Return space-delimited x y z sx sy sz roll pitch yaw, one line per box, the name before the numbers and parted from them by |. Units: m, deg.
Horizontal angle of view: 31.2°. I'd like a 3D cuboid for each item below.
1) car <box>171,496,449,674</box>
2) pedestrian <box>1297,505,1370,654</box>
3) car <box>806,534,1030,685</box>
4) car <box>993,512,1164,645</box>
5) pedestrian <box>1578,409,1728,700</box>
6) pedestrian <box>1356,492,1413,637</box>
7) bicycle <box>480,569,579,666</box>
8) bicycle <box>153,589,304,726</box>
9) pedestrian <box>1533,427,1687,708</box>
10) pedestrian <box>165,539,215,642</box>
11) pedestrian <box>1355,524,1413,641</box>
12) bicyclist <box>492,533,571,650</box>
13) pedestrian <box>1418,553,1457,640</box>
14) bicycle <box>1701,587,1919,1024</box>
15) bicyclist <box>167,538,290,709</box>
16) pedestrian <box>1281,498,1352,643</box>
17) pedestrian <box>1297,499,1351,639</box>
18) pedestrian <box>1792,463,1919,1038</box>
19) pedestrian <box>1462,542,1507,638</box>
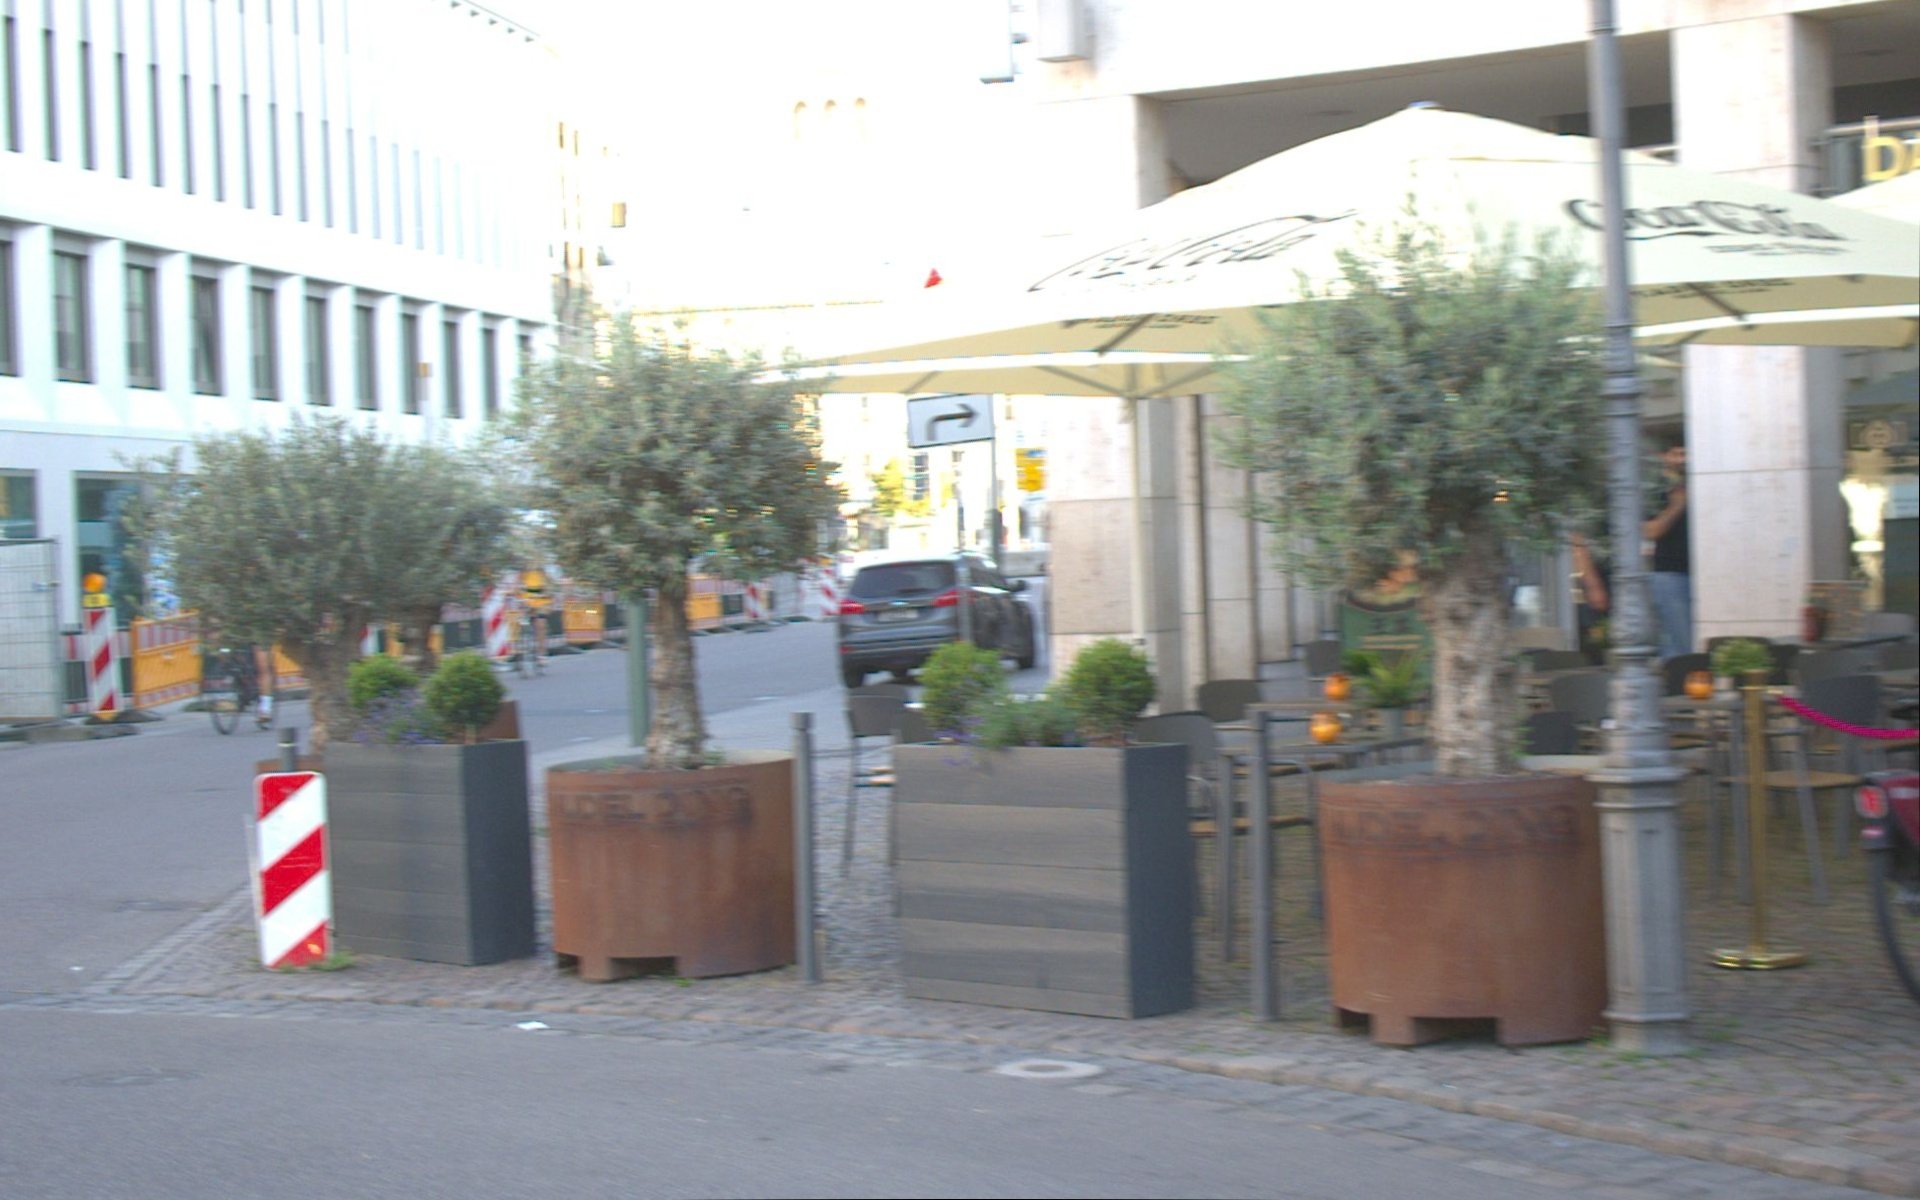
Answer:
car | -9.680 -0.282 51.798 2.174 2.462 5.997 -2 1 9
pedestrian | 4.375 -0.249 40.200 0.765 1.675 0.876 -2 3 8
car | -0.425 0.071 39.693 1.796 1.485 4.191 -5 0 9
car | 1.705 -0.332 48.096 1.769 1.632 4.056 -5 0 9
pedestrian | 4.514 -0.296 22.383 0.717 1.855 0.668 -1 1 32
pedestrian | 5.325 -0.455 43.118 0.634 1.768 0.775 -2 3 8
bicycle | -5.743 0.217 46.028 0.796 1.213 2.233 -2 1 6
bicycle | -7.066 0.535 33.318 0.796 1.213 2.233 -2 1 4
pedestrian | 4.116 -0.205 21.761 0.717 1.739 0.668 -1 1 32
pedestrian | -11.889 -0.149 53.079 0.542 1.572 0.579 -2 1 7
pedestrian | 5.049 -0.211 40.920 0.634 1.341 0.775 -2 3 8
bicyclist | -5.733 -0.123 46.049 0.796 1.527 0.974 -2 1 6
pedestrian | 5.657 -0.043 40.740 0.420 0.982 0.526 -2 3 8
bicycle | 2.963 0.578 10.651 0.606 1.124 1.903 -1 3 34
bicyclist | -7.076 0.216 33.320 0.796 1.597 1.231 -2 1 4
pedestrian | 4.284 -0.360 41.284 0.765 1.675 0.876 -2 3 8
pedestrian | 4.487 -0.390 42.317 0.591 1.693 0.696 -2 1 7
pedestrian | 2.837 0.402 9.747 0.748 1.583 0.713 -1 1 27
pedestrian | 6.193 -0.122 40.600 0.487 1.093 0.601 -2 3 8
